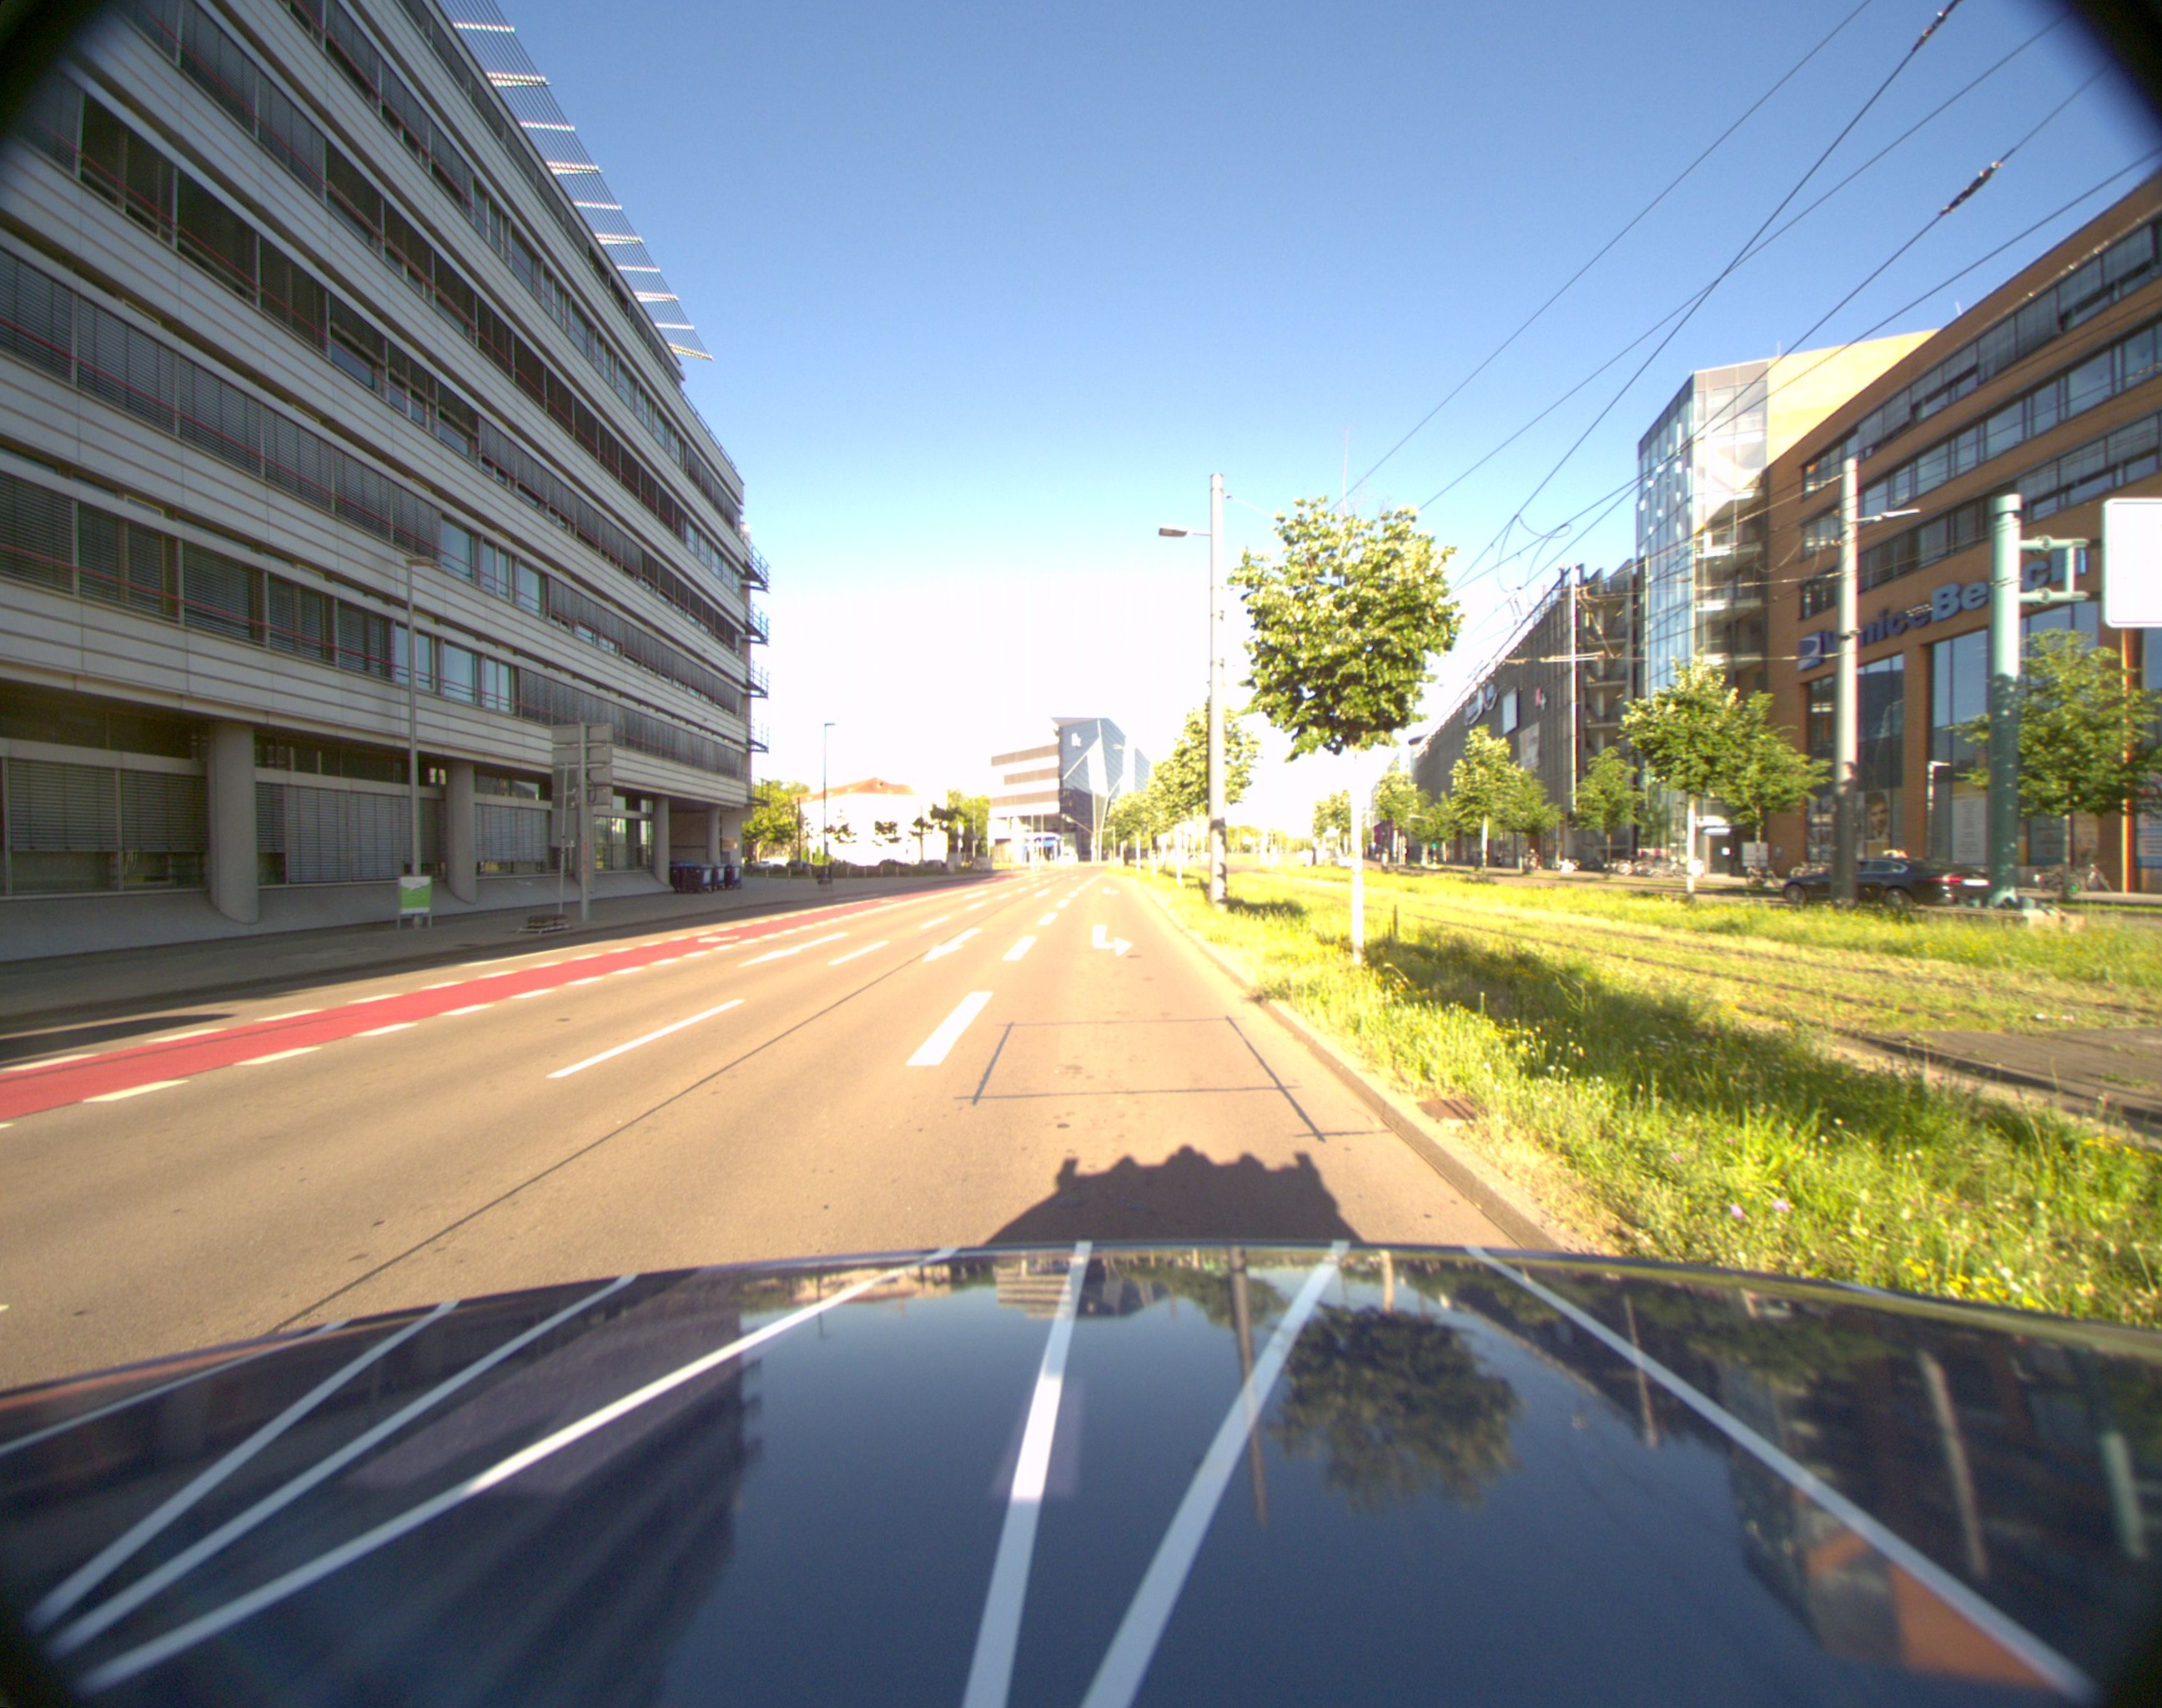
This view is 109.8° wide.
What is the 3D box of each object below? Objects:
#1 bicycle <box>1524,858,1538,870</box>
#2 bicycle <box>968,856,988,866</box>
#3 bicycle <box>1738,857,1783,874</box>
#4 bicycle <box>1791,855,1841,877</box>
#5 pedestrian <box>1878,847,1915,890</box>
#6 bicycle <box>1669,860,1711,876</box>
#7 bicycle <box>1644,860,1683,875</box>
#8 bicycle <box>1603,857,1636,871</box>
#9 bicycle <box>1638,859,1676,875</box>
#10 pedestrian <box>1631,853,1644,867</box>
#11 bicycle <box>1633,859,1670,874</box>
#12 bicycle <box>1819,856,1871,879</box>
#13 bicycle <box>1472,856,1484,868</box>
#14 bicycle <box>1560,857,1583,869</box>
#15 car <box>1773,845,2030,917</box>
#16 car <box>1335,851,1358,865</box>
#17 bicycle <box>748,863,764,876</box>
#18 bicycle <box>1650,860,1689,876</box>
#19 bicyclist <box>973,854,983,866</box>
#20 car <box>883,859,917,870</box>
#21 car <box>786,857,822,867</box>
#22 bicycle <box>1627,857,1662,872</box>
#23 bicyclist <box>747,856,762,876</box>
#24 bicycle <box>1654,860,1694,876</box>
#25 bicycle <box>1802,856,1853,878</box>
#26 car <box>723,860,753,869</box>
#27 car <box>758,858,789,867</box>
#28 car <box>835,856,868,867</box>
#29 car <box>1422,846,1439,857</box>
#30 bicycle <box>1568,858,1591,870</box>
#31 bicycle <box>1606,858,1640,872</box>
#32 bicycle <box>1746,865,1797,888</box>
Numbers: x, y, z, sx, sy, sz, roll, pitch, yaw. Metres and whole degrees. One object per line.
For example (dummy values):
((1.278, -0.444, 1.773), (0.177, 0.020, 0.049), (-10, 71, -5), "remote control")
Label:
((32.666, 0.721, 55.199), (0.386, 0.863, 1.773), (0, 1, 13), "bicycle")
((-13.286, 0.906, 98.094), (2.368, 1.304, 0.952), (-1, 1, 13), "bicycle")
((37.312, 0.642, 41.744), (1.768, 0.921, 0.565), (-1, 1, 17), "bicycle")
((35.751, 0.606, 36.969), (1.769, 1.043, 0.491), (-1, 1, 8), "bicycle")
((32.415, 0.566, 30.201), (0.746, 1.659, 0.676), (-1, 1, 7), "pedestrian")
((34.735, 0.811, 43.335), (1.768, 0.921, 0.565), (-1, 1, 17), "bicycle")
((35.189, 0.806, 45.912), (1.768, 0.921, 0.565), (-1, 1, 17), "bicycle")
((36.754, 0.700, 51.854), (1.768, 0.921, 0.491), (-1, 1, 17), "bicycle")
((35.329, 0.795, 46.599), (1.768, 0.921, 0.565), (-1, 1, 17), "bicycle")
((40.743, 0.423, 55.623), (0.629, 1.048, 0.450), (-1, 1, 13), "pedestrian")
((35.498, 0.783, 47.296), (1.768, 0.921, 0.565), (-1, 1, 17), "bicycle")
((35.540, 0.627, 35.359), (1.769, 1.043, 0.491), (-1, 1, 8), "bicycle")
((31.589, 0.666, 60.479), (0.386, 0.918, 1.773), (0, 1, 13), "bicycle")
((37.907, 0.709, 58.762), (1.398, 0.921, 0.462), (-1, 1, 17), "bicycle")
((21.849, 0.642, 20.618), (1.997, 1.586, 4.740), (5, 0, 5), "car")
((27.197, 0.364, 77.996), (1.808, 1.320, 4.409), (0, 1, 13), "car")
((-27.095, 1.290, 63.358), (0.505, 1.052, 1.702), (2, 1, 2), "bicycle")
((34.977, 0.820, 45.172), (1.768, 0.921, 0.565), (-1, 1, 17), "bicycle")
((-13.301, 0.748, 98.110), (1.006, 1.598, 0.880), (-1, 1, 14), "bicyclist")
((-24.824, 1.488, 104.233), (3.991, 1.414, 2.003), (-1, 1, 20), "car")
((-39.990, 1.157, 109.686), (4.516, 1.414, 2.003), (-1, 1, 19), "car")
((36.011, 0.676, 48.558), (1.768, 0.921, 0.491), (-1, 1, 17), "bicycle")
((-27.196, 1.008, 63.296), (0.685, 1.609, 0.991), (-1, 1, 2), "bicyclist")
((34.679, 0.837, 44.429), (1.768, 0.921, 0.565), (-1, 1, 17), "bicycle")
((35.704, 0.613, 36.357), (1.769, 1.043, 0.491), (-1, 1, 8), "bicycle")
((-51.848, 1.582, 114.796), (3.990, 1.368, 1.938), (-1, 1, 24), "car")
((-45.251, 1.278, 111.821), (3.990, 1.237, 2.003), (-1, 1, 22), "car")
((-32.116, 1.024, 106.567), (3.991, 1.414, 2.003), (-1, 1, 20), "car")
((54.259, -0.373, 118.116), (1.582, 1.521, 3.754), (-2, 1, 13), "car")
((37.524, 0.735, 57.229), (1.398, 0.921, 0.462), (-1, 1, 17), "bicycle")
((36.529, 0.713, 51.207), (1.768, 0.921, 0.565), (-1, 1, 17), "bicycle")
((28.026, 0.896, 30.877), (0.464, 0.863, 1.771), (-1, 1, 1), "bicycle")
